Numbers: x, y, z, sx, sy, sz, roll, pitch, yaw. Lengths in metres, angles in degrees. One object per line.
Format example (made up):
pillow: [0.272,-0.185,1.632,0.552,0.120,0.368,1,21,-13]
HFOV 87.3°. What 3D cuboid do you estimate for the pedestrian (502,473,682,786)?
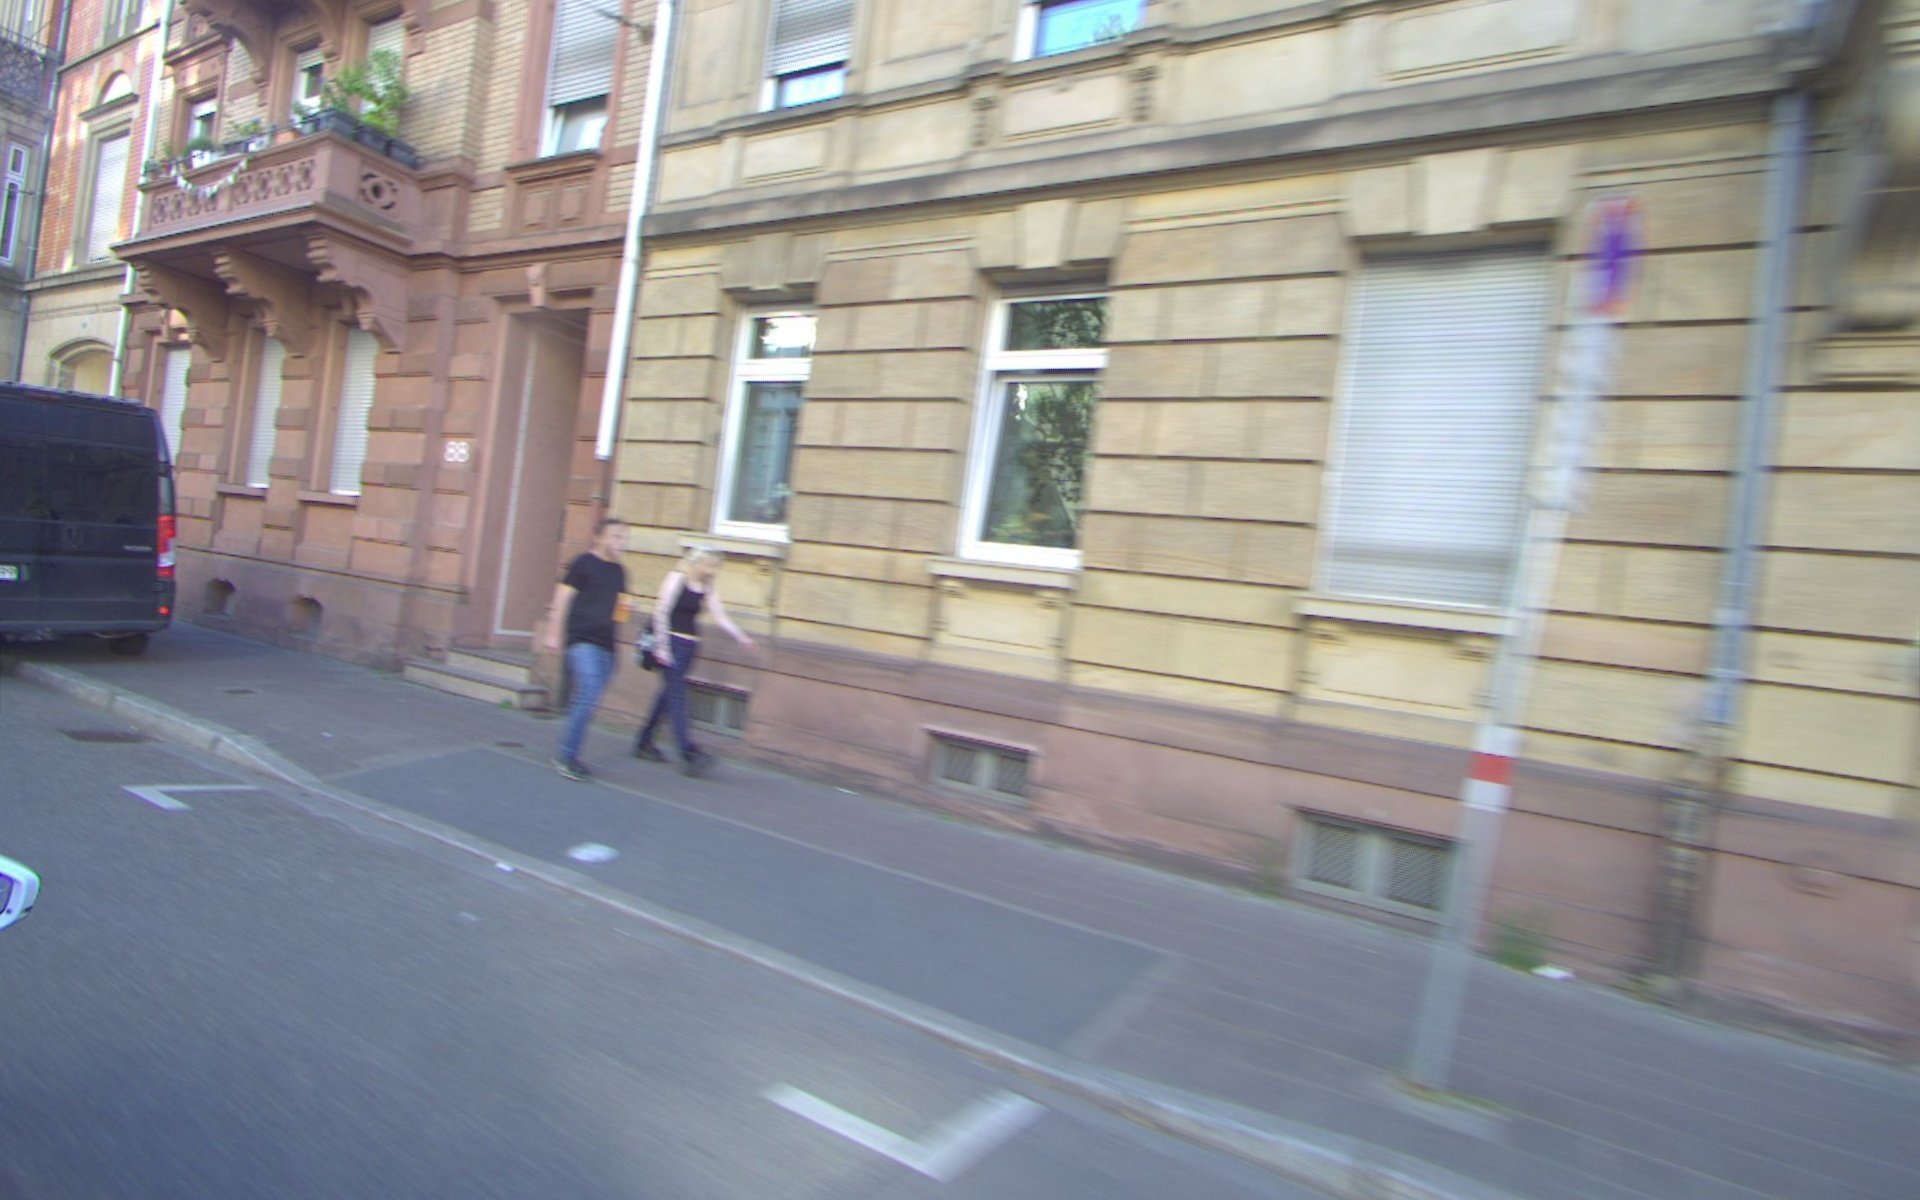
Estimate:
pedestrian: [-2.570,0.193,7.043,0.809,2.038,0.586,7,0,30]

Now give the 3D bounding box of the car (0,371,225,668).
car: [-10.279,-0.933,10.441,5.627,2.466,2.274,7,-1,33]

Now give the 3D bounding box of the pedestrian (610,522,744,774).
pedestrian: [-2.155,0.354,7.686,0.596,1.805,0.554,7,1,30]
